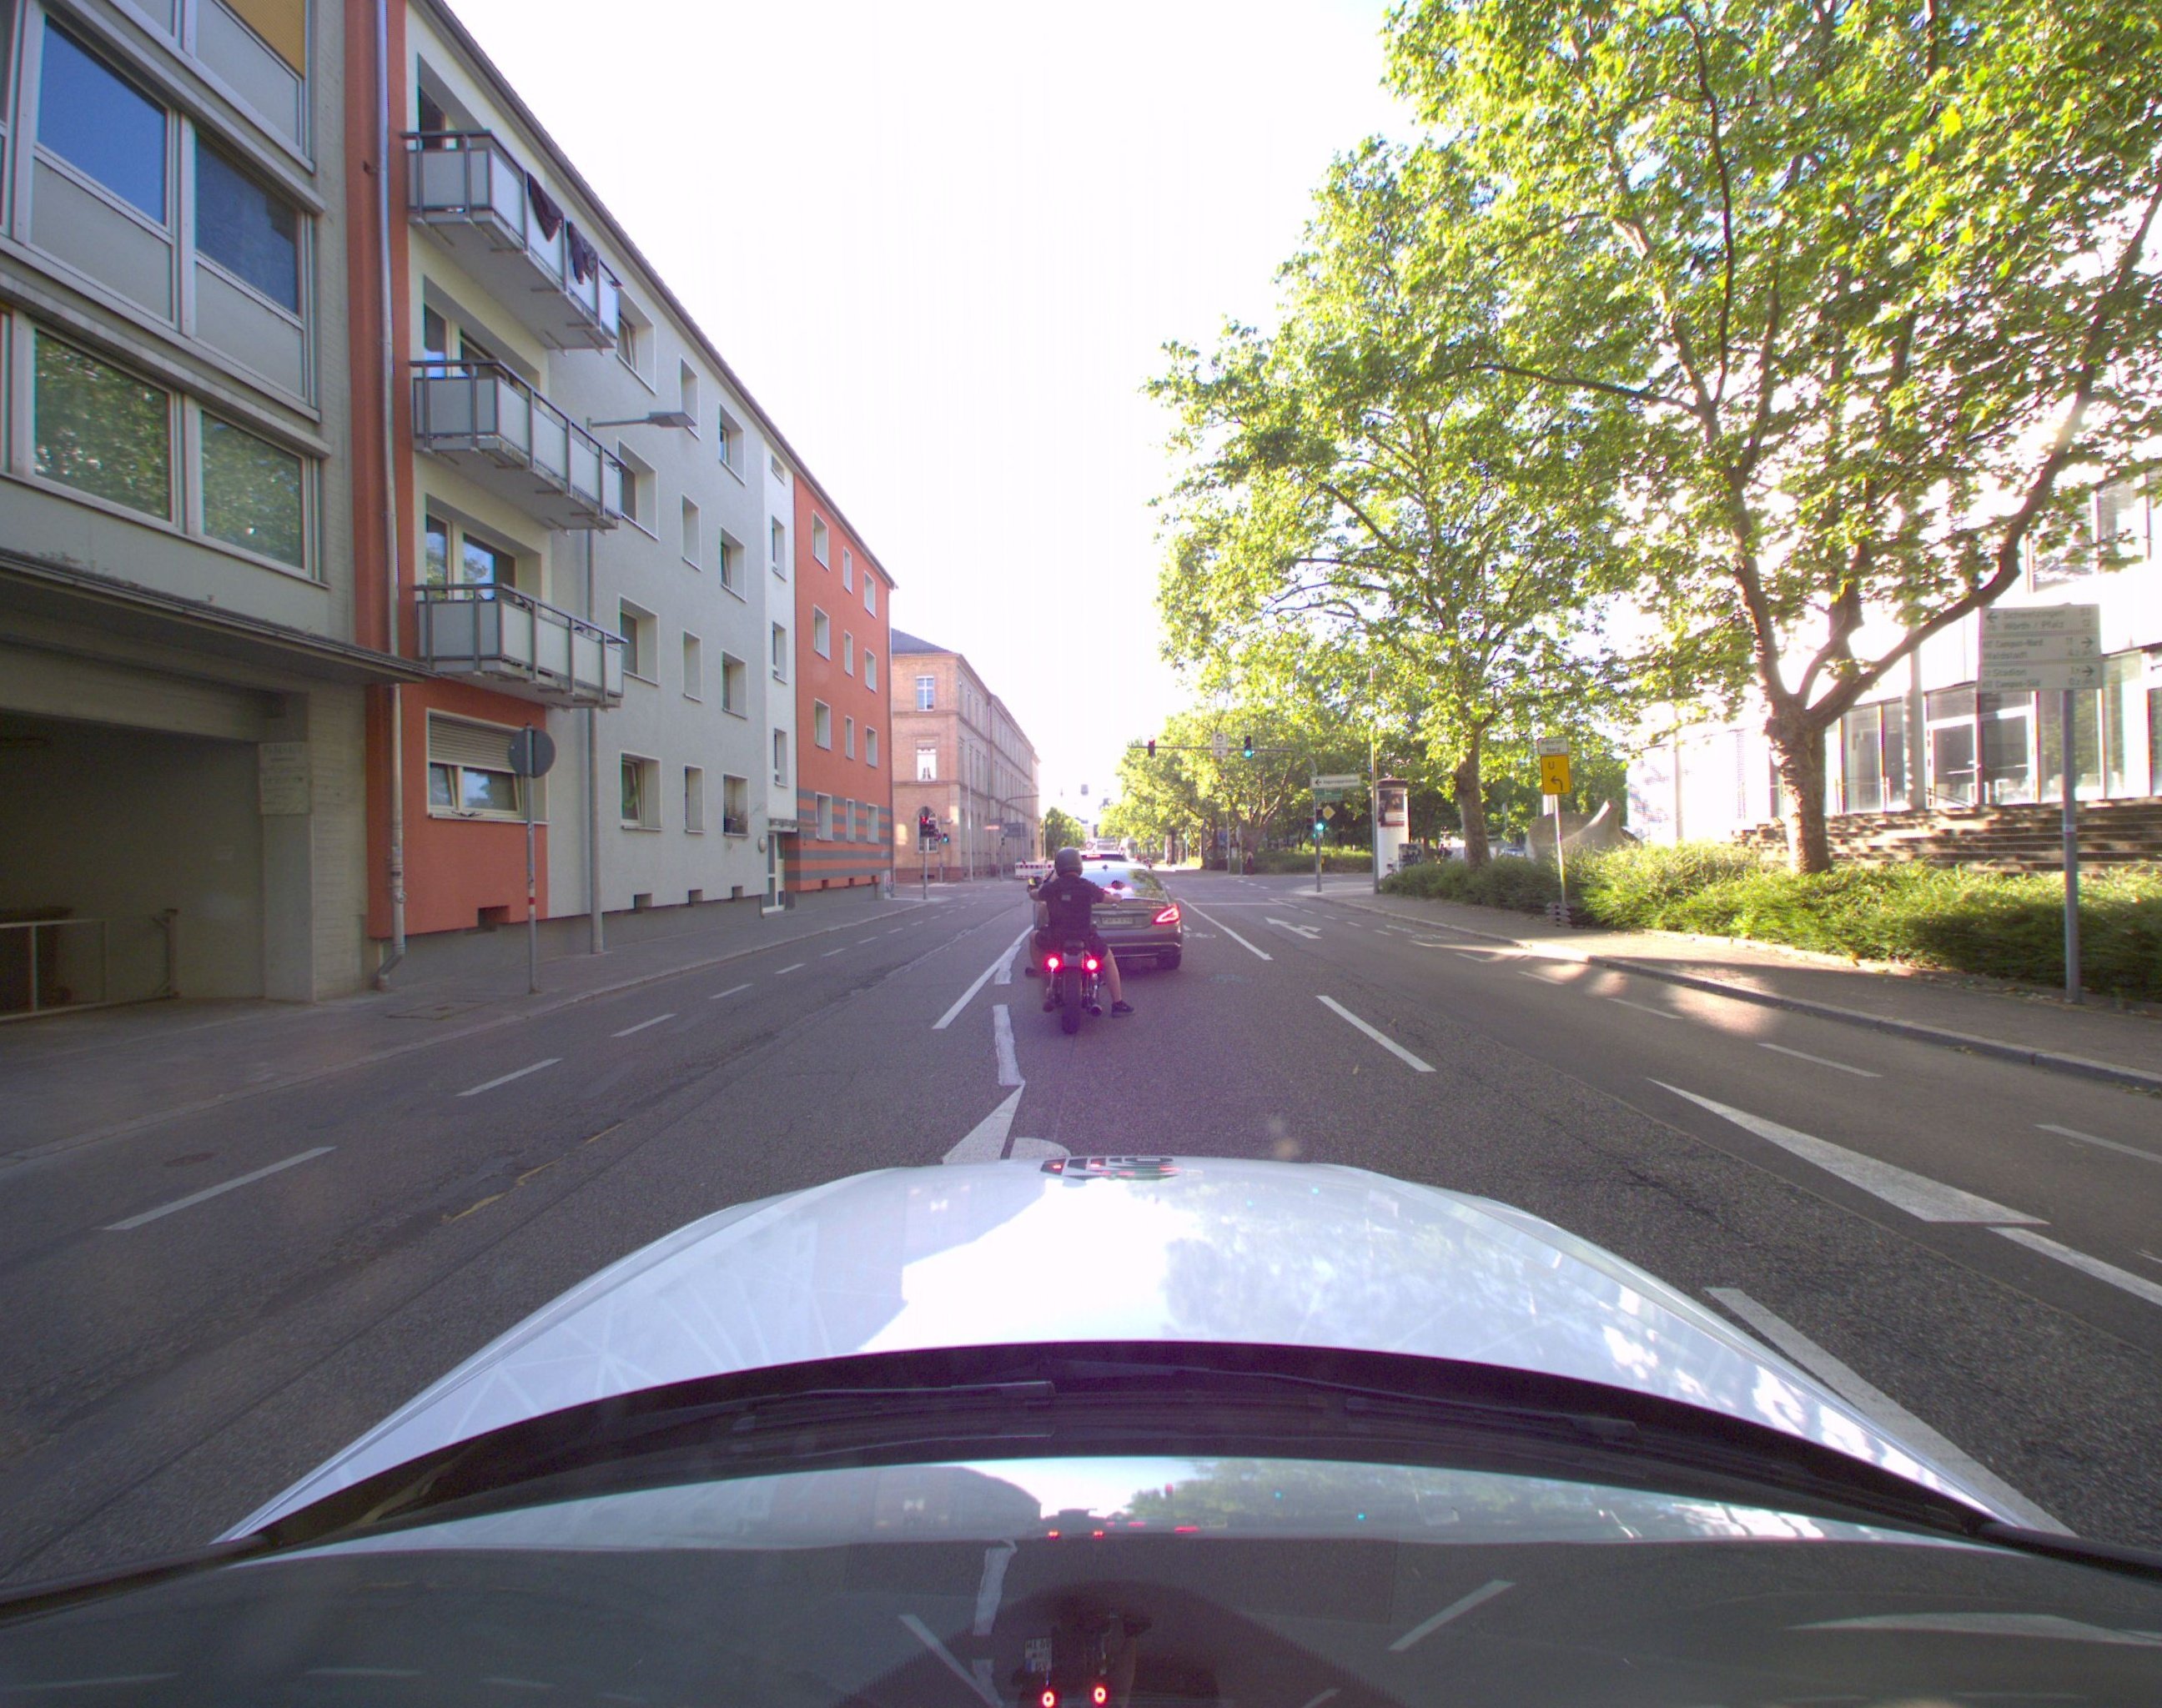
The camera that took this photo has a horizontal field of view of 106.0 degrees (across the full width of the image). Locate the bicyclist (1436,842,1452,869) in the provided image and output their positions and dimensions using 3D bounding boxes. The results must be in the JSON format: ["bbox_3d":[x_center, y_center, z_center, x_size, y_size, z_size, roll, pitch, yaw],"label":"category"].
[{"bbox_3d":[21.428,0.099,48.121,0.726,1.582,0.598,0,-1,7],"label":"bicyclist"}]

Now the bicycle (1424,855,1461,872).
[{"bbox_3d":[21.370,0.573,48.125,1.907,0.980,0.603,0,-1,7],"label":"bicycle"}]

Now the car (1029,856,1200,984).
[{"bbox_3d":[0.261,0.775,11.757,1.867,1.444,4.421,-1,0,-6],"label":"car"}]

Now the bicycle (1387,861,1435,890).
[{"bbox_3d":[11.077,0.714,27.335,1.475,0.980,0.300,0,-1,7],"label":"bicycle"}]

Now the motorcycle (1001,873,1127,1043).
[{"bbox_3d":[-0.095,0.859,7.703,0.977,1.275,2.408,-1,0,2],"label":"motorcycle"}]

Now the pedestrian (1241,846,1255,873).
[{"bbox_3d":[11.106,0.366,54.047,0.620,1.772,0.671,0,-1,-43],"label":"pedestrian"}]

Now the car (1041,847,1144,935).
[{"bbox_3d":[0.287,0.727,17.684,1.986,1.665,4.001,0,-1,2],"label":"car"}]

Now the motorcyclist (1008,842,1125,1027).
[{"bbox_3d":[-0.105,0.695,7.648,0.977,1.578,1.249,-1,0,1],"label":"motorcyclist"}]

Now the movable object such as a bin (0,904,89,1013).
[{"bbox_3d":[-11.292,1.093,8.660,0.639,1.065,0.675,-1,0,1],"label":"movable object such as a bin"}]
